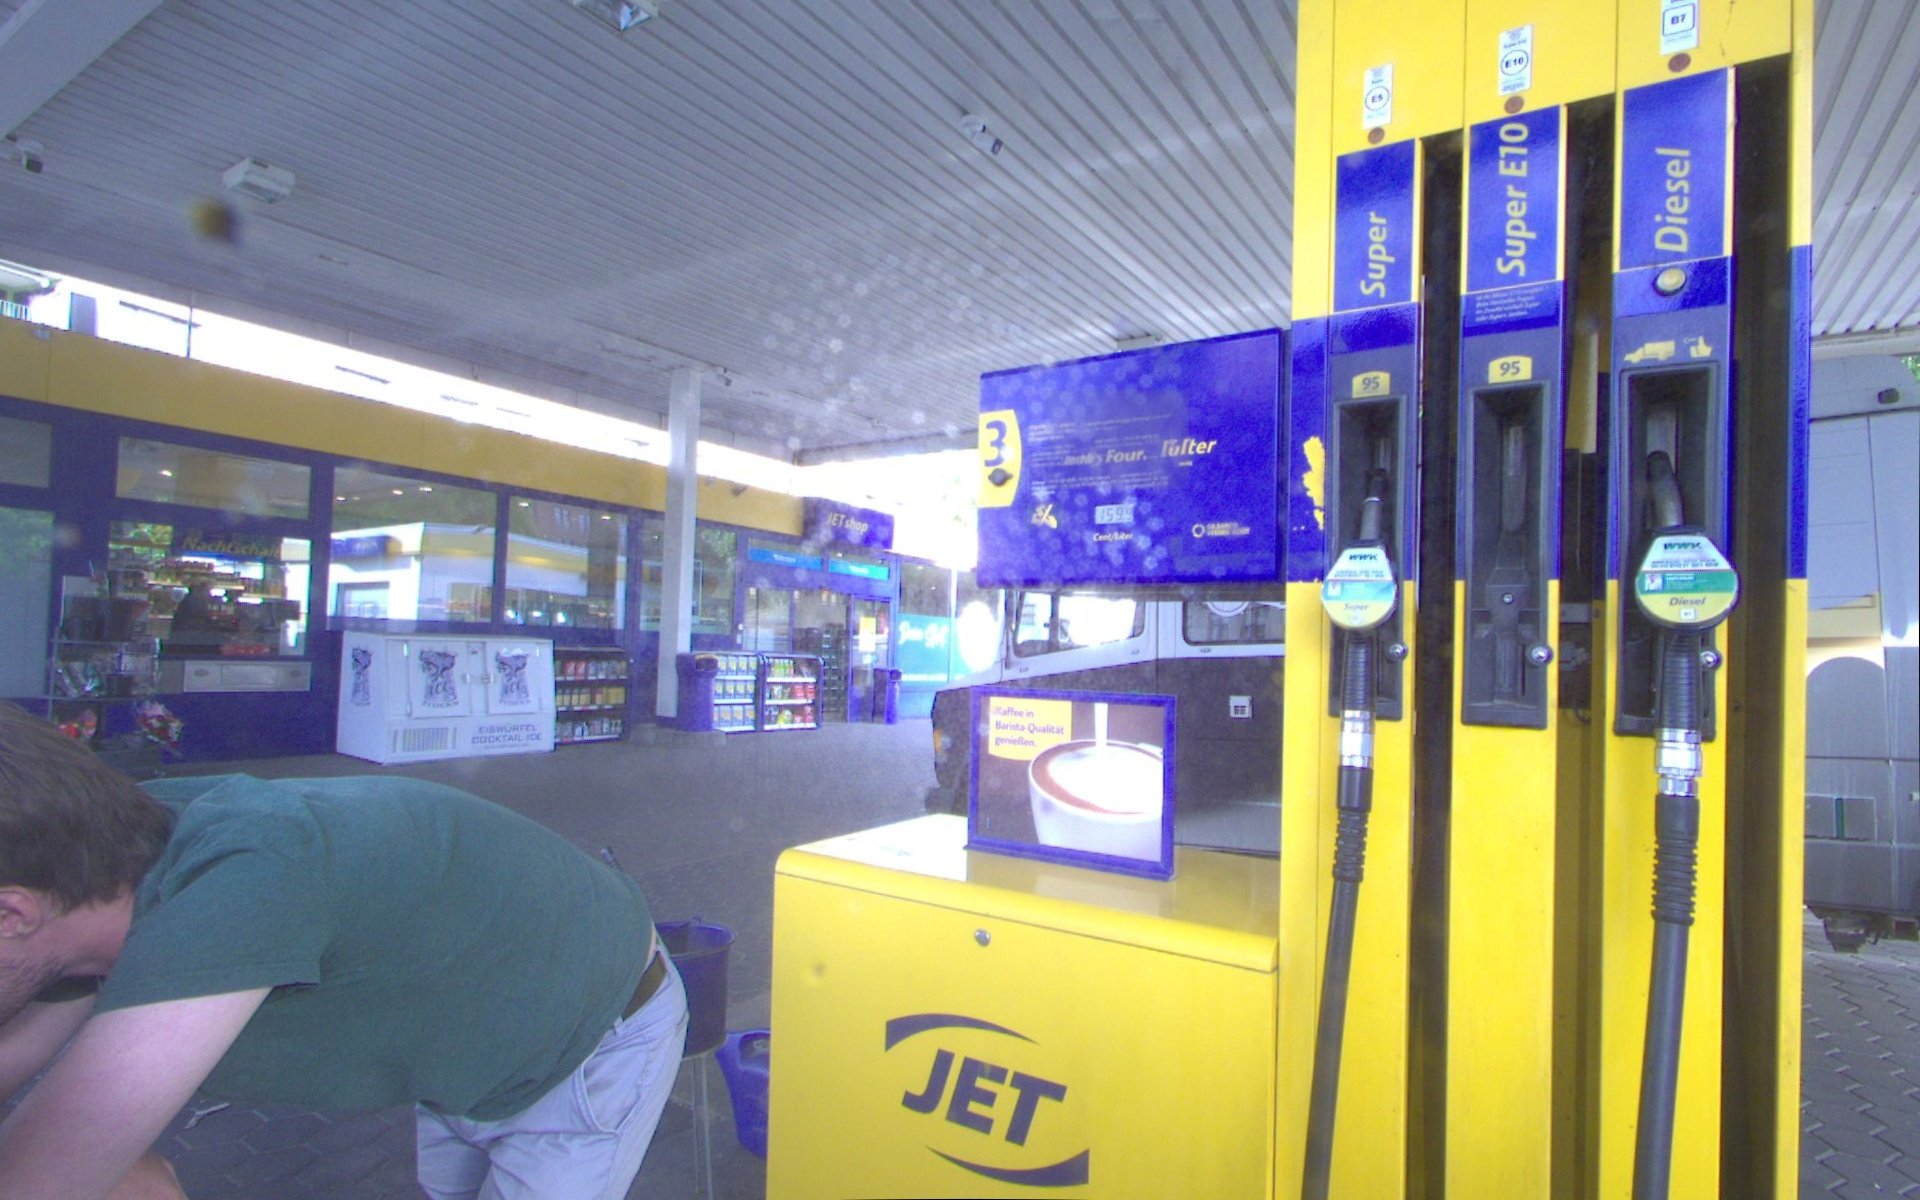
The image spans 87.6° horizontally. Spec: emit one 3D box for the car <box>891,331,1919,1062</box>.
[{"bbox_3d":[2.343,0.442,5.997,5.271,2.759,2.193,-1,-3,34],"label":"car"}]

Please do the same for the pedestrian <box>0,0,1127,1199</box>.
[{"bbox_3d":[-0.528,0.584,1.080,0.981,1.750,1.175,-2,-2,36],"label":"pedestrian"}]
